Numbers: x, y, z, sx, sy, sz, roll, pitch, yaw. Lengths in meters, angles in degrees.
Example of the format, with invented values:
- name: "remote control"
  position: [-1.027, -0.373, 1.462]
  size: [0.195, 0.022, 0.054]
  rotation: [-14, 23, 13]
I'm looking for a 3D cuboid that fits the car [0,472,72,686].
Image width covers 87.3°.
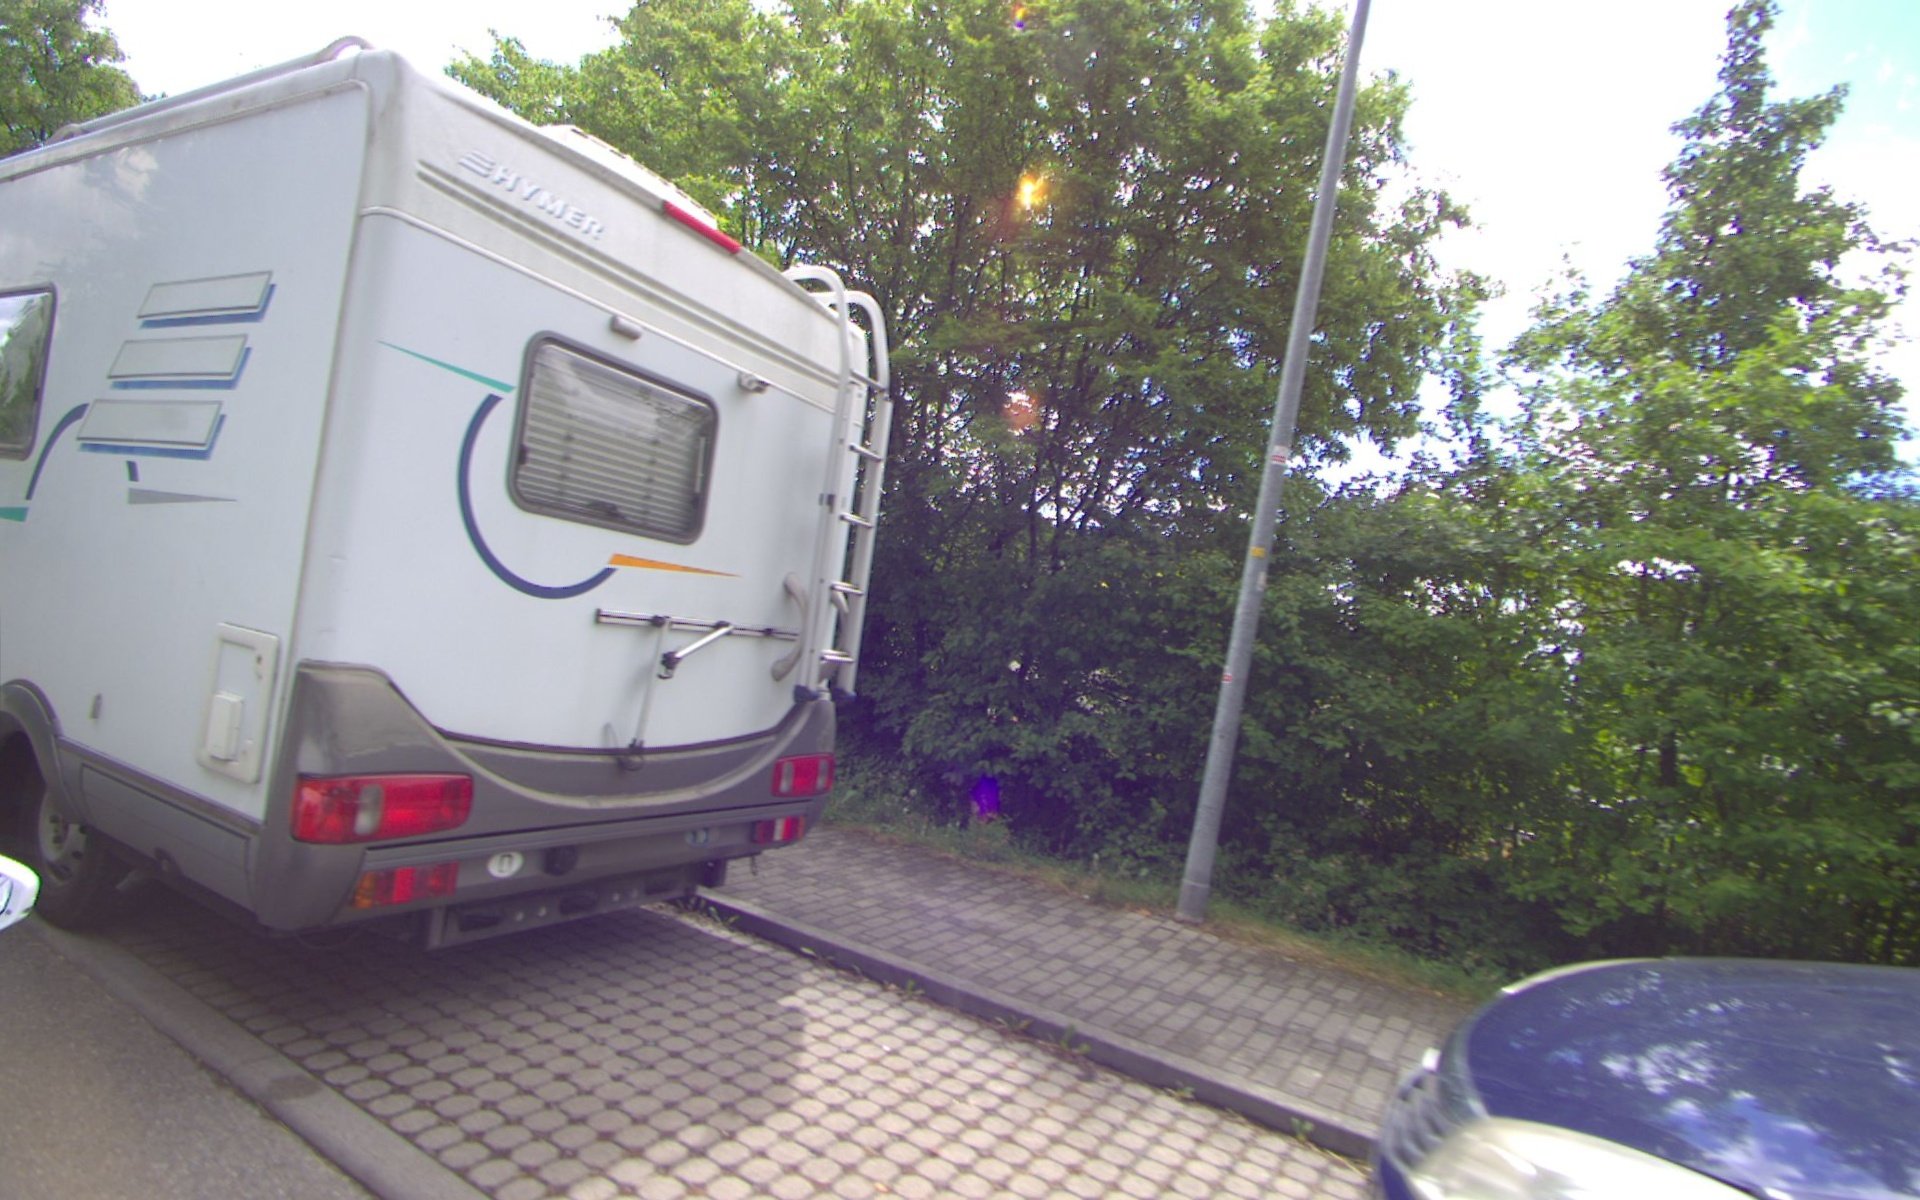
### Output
- name: "car"
  position: [-9.289, -0.448, 8.062]
  size: [3.929, 1.608, 1.718]
  rotation: [7, -4, 26]

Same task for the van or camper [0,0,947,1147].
- name: "van or camper"
  position: [-3.407, -0.386, 4.868]
  size: [6.046, 2.902, 2.338]
  rotation: [7, -2, 31]

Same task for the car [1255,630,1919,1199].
- name: "car"
  position: [2.453, 1.042, 1.106]
  size: [3.824, 1.537, 1.732]
  rotation: [6, -2, 31]
